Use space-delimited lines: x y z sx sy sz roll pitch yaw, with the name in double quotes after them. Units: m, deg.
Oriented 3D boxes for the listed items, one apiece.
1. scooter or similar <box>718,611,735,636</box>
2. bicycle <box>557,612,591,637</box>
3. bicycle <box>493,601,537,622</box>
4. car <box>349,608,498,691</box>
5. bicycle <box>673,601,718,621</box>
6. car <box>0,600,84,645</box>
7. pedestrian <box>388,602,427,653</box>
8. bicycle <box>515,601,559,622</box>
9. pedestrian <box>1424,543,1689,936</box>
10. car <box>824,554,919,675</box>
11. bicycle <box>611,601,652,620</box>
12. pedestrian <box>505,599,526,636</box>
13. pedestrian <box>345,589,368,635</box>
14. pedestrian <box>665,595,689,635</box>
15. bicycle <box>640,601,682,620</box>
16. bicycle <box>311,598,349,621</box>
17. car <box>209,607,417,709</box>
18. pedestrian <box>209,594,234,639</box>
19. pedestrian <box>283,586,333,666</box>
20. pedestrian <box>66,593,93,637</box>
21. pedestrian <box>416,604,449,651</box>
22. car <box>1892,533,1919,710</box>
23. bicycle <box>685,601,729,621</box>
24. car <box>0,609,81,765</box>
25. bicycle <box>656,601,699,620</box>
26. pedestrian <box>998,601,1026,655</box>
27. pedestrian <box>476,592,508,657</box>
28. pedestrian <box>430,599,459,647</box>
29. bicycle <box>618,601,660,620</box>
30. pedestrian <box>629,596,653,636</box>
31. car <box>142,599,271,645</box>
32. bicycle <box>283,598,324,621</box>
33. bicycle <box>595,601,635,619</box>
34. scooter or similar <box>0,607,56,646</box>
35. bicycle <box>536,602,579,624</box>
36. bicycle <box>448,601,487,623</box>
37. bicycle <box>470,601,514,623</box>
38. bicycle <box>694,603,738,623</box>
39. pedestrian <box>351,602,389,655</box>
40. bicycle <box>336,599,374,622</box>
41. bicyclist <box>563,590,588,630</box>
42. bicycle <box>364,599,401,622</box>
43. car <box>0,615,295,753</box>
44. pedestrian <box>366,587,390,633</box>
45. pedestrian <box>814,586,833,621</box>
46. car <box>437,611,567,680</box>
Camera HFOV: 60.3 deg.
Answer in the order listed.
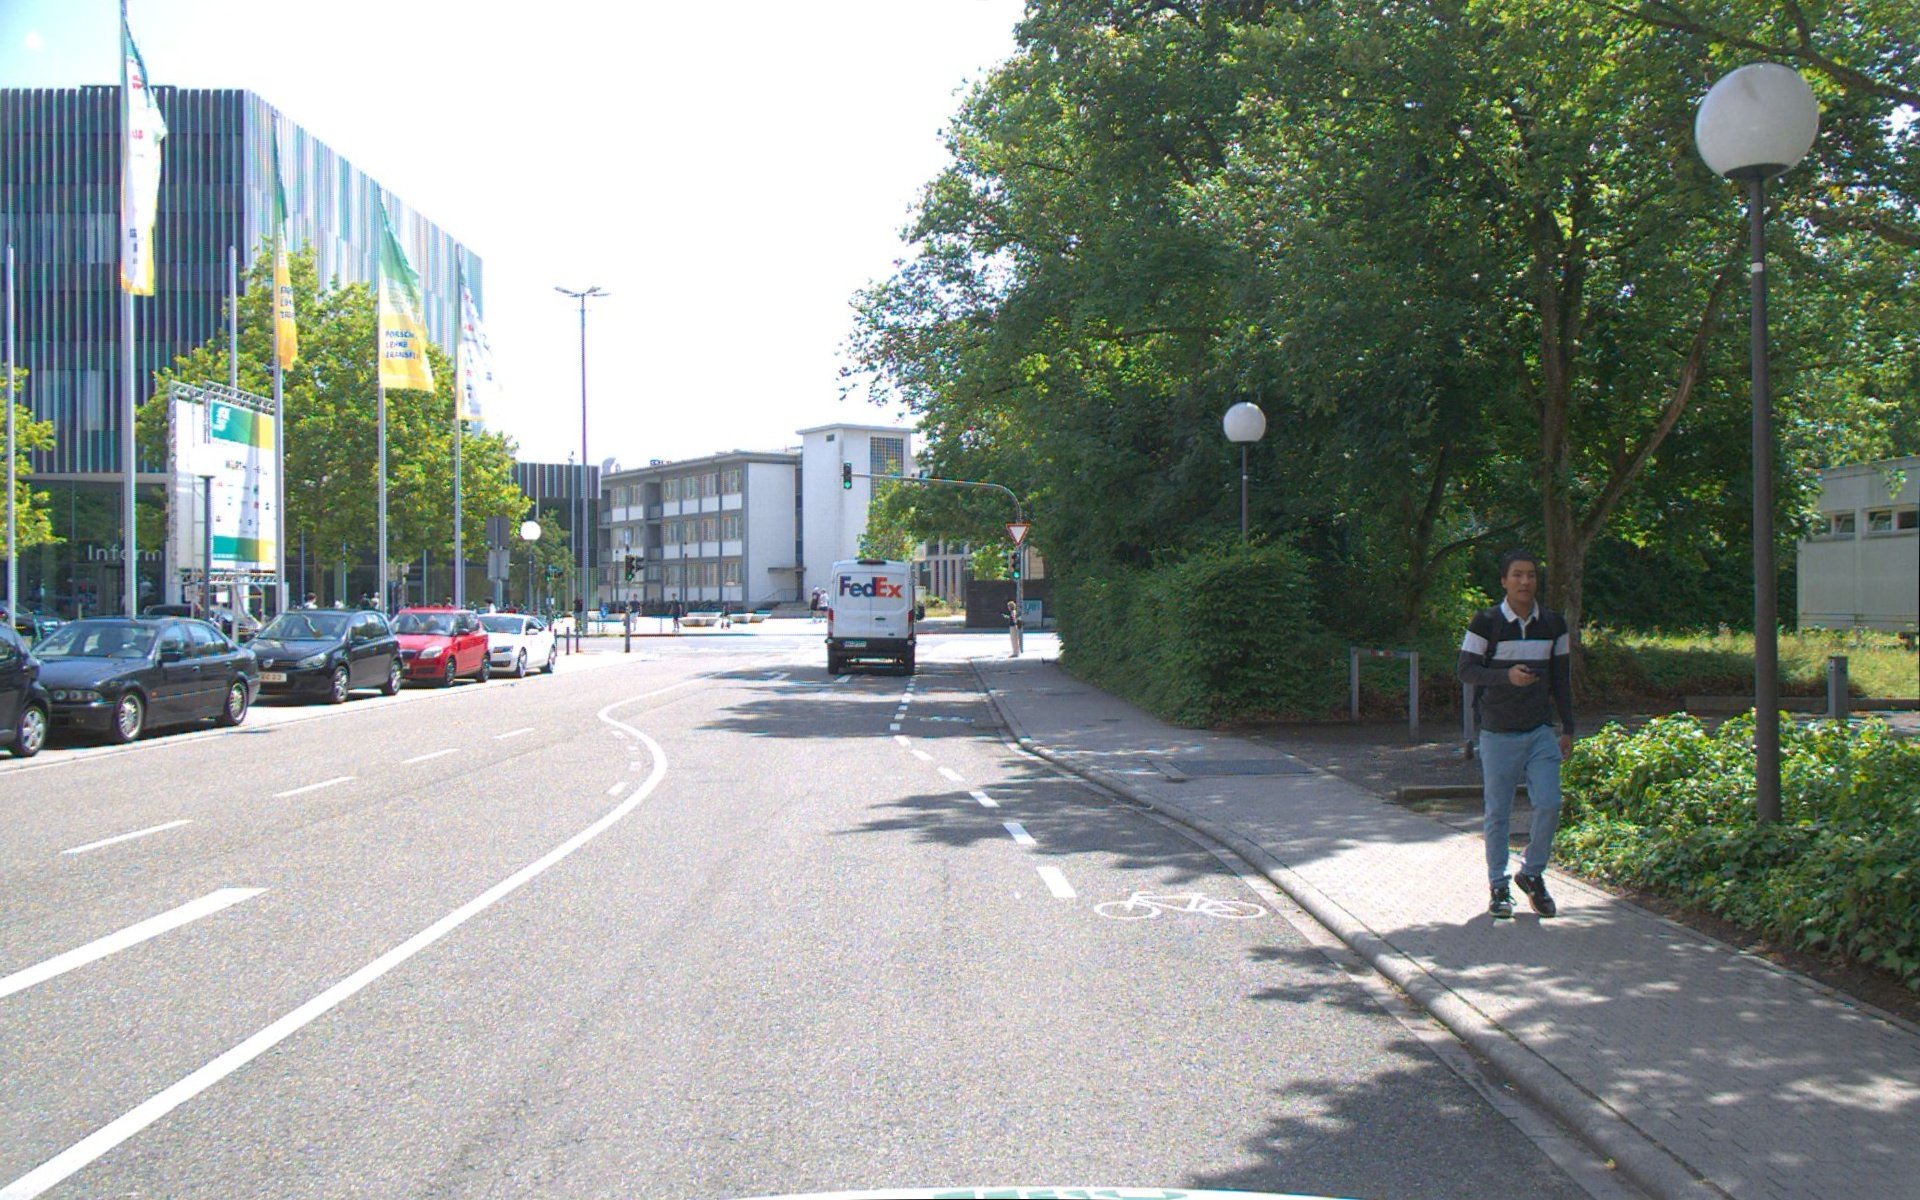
-11.806 1.169 83.571 0.704 1.199 2.717 0 0 -11 "scooter or similar"
-18.249 1.162 78.234 0.754 1.142 2.028 -1 0 13 "bicycle"
-26.310 0.676 97.708 2.901 1.259 1.193 0 -1 44 "bicycle"
-10.555 0.935 32.783 1.642 1.493 3.910 2 0 0 "car"
-18.898 0.799 118.209 2.936 1.387 1.258 1 -1 -39 "bicycle"
-36.517 0.870 63.628 4.711 1.690 1.653 -1 0 0 "car"
-20.103 0.999 60.198 0.844 1.850 1.096 -1 0 22 "pedestrian"
-25.164 0.672 98.456 2.901 1.259 1.193 0 -1 44 "bicycle"
2.771 0.603 7.818 0.725 1.704 1.255 0 0 -4 "pedestrian"
-2.005 0.302 38.991 2.053 2.611 5.600 -1 0 -2 "car"
-25.200 0.799 126.781 2.936 1.387 1.102 1 -1 -39 "bicycle"
-20.541 0.798 76.429 0.738 1.708 0.755 -1 0 -1 "pedestrian"
-34.109 0.670 93.528 0.965 2.610 1.001 1 -1 -37 "pedestrian"
-13.630 0.702 79.698 1.059 1.903 0.832 -1 0 -3 "pedestrian"
-22.133 0.792 122.436 2.936 1.387 1.102 1 -1 -39 "bicycle"
-34.424 0.520 90.358 1.188 1.259 2.913 1 0 -36 "bicycle"
-10.593 0.895 27.424 1.712 1.493 4.196 2 0 1 "car"
-42.553 0.953 95.319 0.953 2.610 1.014 0 -1 -1 "pedestrian"
-15.700 0.616 39.870 0.704 1.883 1.089 1 0 3 "pedestrian"
-48.889 0.833 91.858 0.953 2.387 1.014 0 -1 -1 "pedestrian"
-19.133 0.996 59.995 0.808 1.683 0.862 0 0 14 "pedestrian"
13.468 0.225 18.684 4.726 2.049 2.061 -1 0 0 "car"
-17.852 0.799 116.965 2.936 1.387 1.102 1 -1 -39 "bicycle"
-10.162 0.842 15.755 1.605 1.493 3.706 2 0 -1 "car"
-20.571 0.760 120.355 2.936 1.387 1.102 1 -1 -39 "bicycle"
1.565 0.832 49.661 0.717 1.603 0.774 1 0 -6 "pedestrian"
-13.784 0.708 48.741 0.704 1.892 0.770 0 0 1 "pedestrian"
-17.902 0.794 57.454 0.754 1.626 0.798 -1 0 1 "pedestrian"
-24.295 0.798 125.315 2.936 1.387 1.102 1 -1 -39 "bicycle"
-15.925 0.791 82.590 0.687 1.887 1.400 -1 1 8 "pedestrian"
-29.050 0.842 63.822 4.194 1.690 1.653 -1 1 0 "car"
-35.545 0.509 89.530 1.362 1.259 2.914 1 0 -36 "bicycle"
-27.050 0.787 129.768 2.936 1.387 1.102 1 -1 -39 "bicycle"
-29.342 0.839 51.907 1.692 1.217 0.494 0 0 5 "scooter or similar"
-24.219 0.784 99.479 2.901 1.259 1.193 0 -1 44 "bicycle"
-28.656 0.678 96.146 1.188 1.259 2.911 1 0 -38 "bicycle"
-27.365 0.683 96.770 2.901 1.259 1.193 0 -1 44 "bicycle"
-17.109 0.906 115.879 2.936 1.387 1.102 1 -1 -39 "bicycle"
-21.458 1.026 60.134 0.835 1.909 1.006 -1 0 22 "pedestrian"
-33.443 0.559 91.435 1.188 1.259 2.913 1 0 -36 "bicycle"
-18.213 0.464 78.367 0.772 1.849 1.000 -1 0 13 "bicyclist"
-32.239 0.594 92.254 1.187 1.259 2.913 1 0 -36 "bicycle"
-10.191 0.930 20.420 1.821 1.402 5.016 2 0 1 "car"
-33.331 0.554 94.716 0.968 2.610 0.998 1 -1 -44 "pedestrian"
-7.439 0.183 90.123 0.852 1.922 0.907 0 0 -20 "pedestrian"
-10.393 0.991 37.849 1.642 1.420 4.662 2 0 0 "car"
